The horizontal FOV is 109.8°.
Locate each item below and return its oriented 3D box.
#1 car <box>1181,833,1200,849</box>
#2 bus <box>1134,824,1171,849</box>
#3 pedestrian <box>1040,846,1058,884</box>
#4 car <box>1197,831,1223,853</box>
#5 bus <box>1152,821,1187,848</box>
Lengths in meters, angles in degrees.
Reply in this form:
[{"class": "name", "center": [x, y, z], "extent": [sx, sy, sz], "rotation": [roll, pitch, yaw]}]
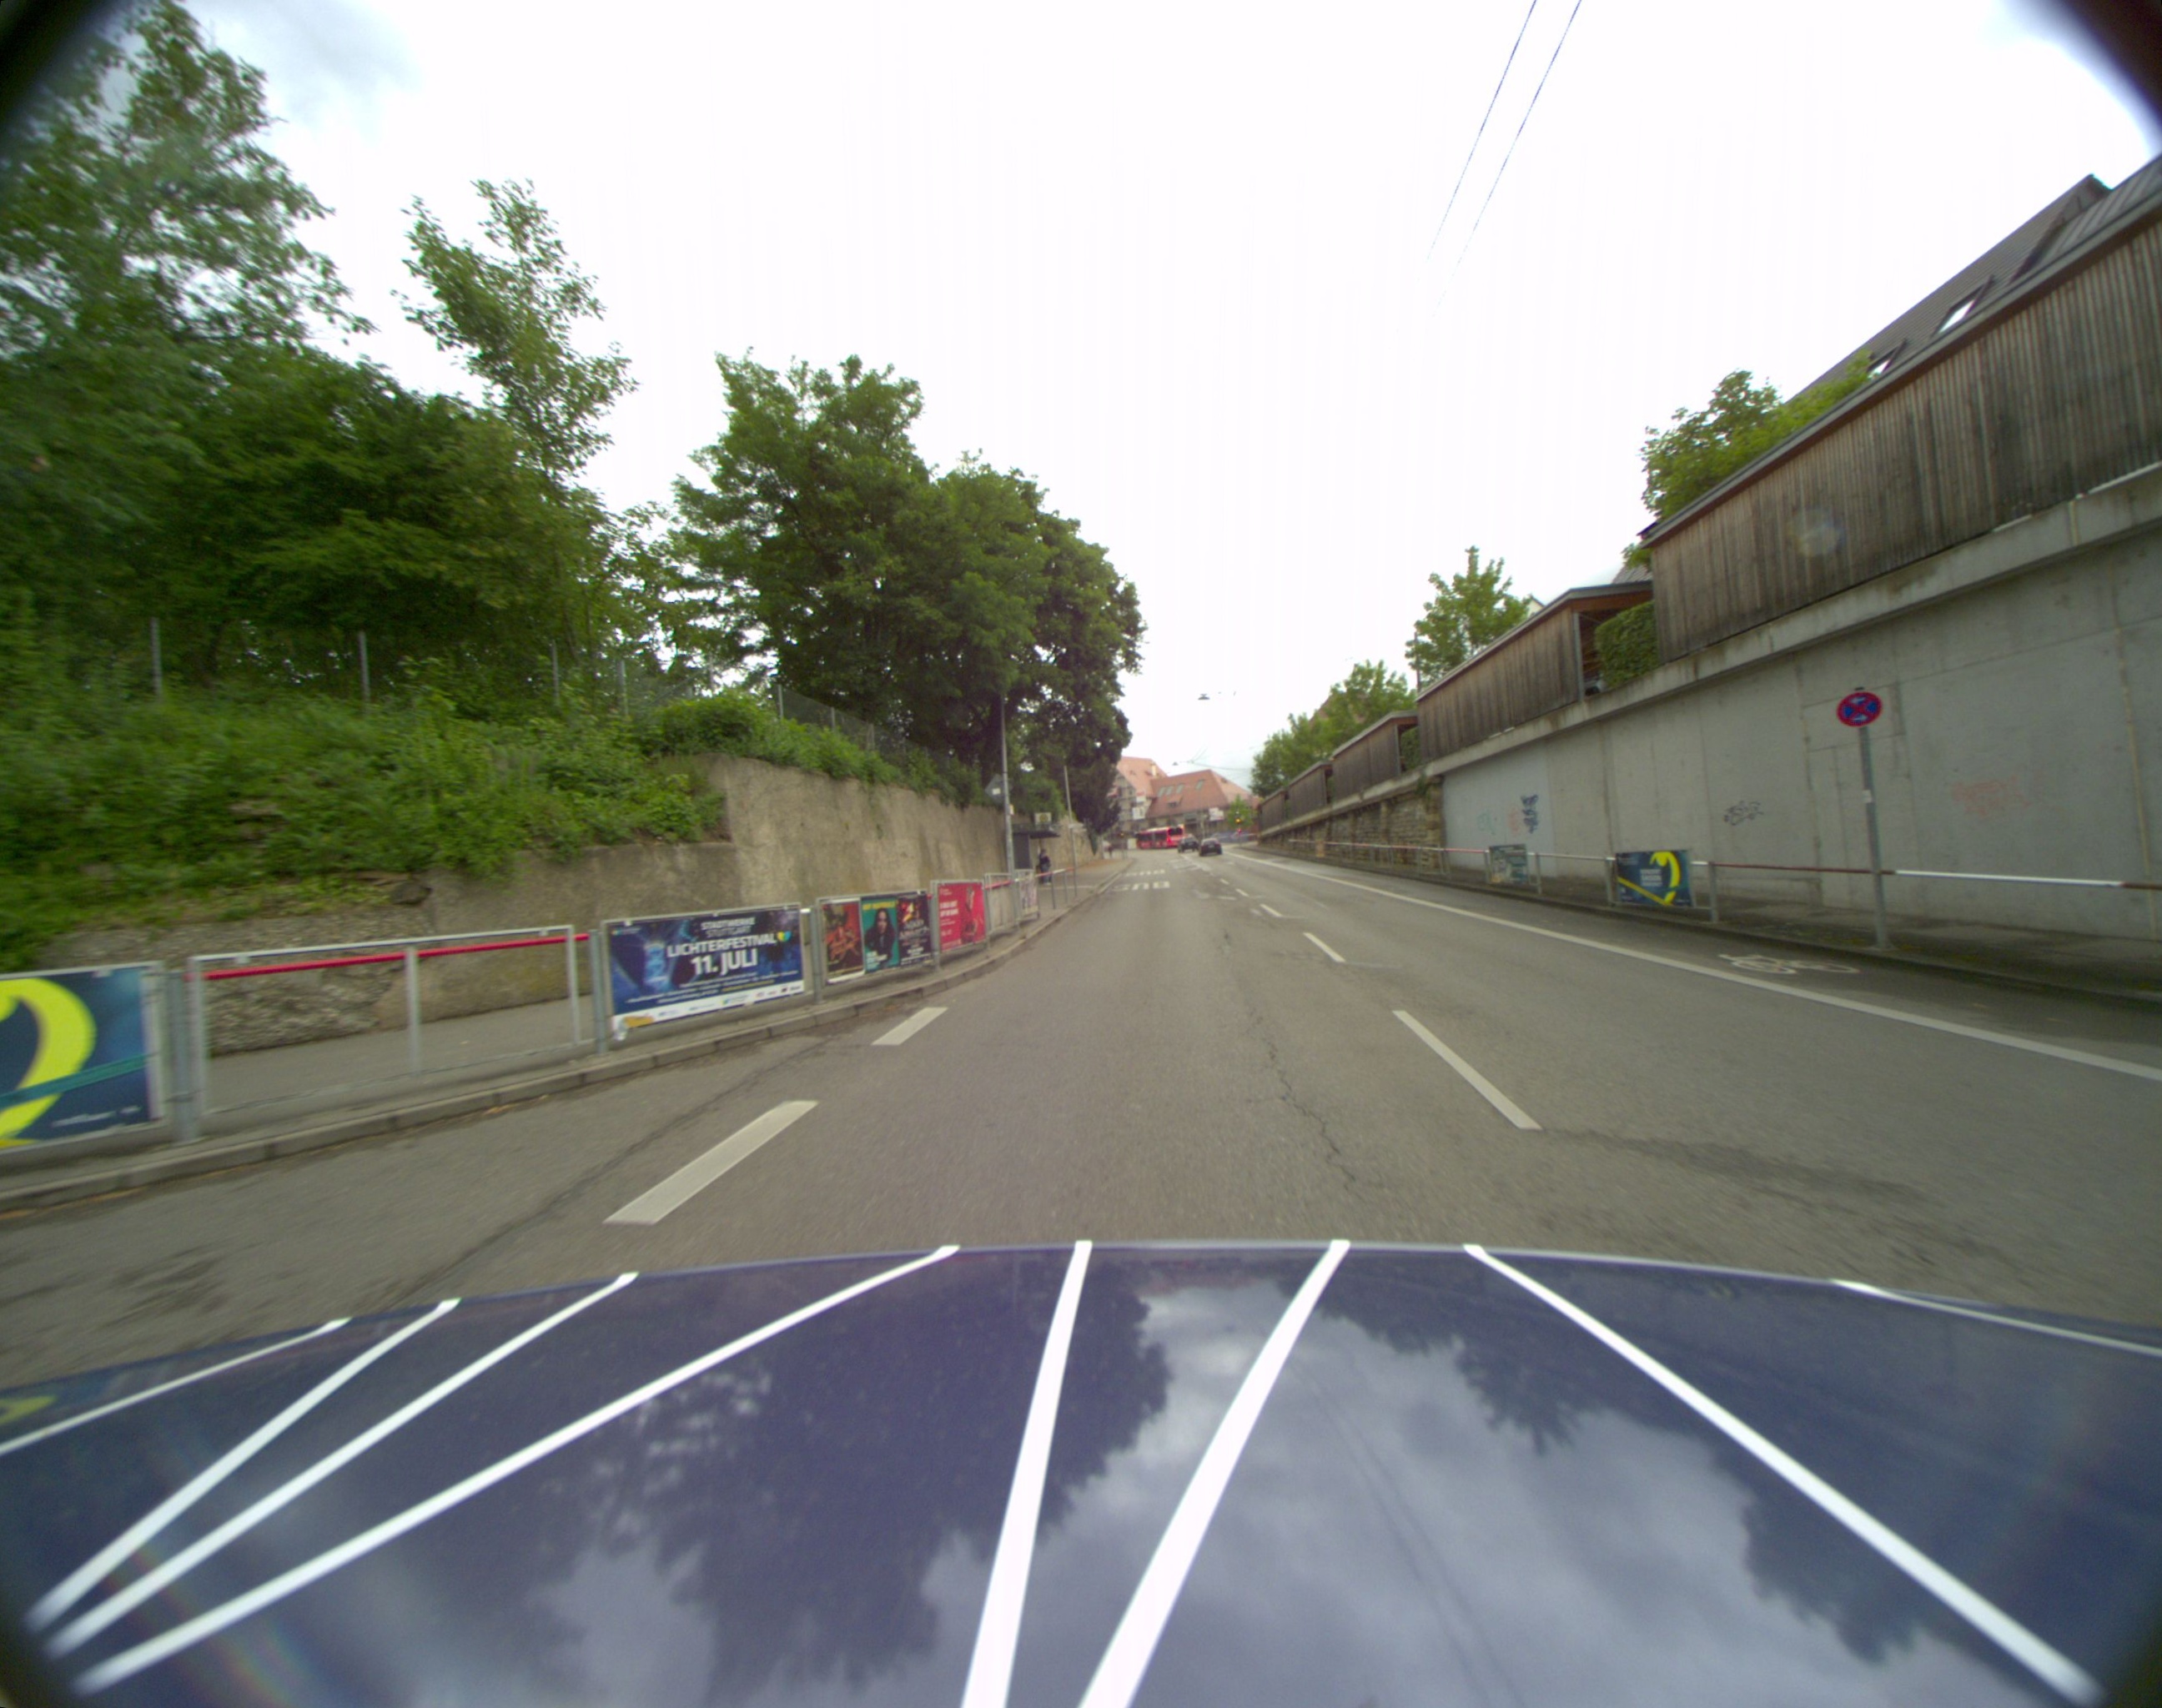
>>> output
[{"class": "car", "center": [12.128, -1.417, 84.552], "extent": [1.854, 1.706, 3.882], "rotation": [-2, 1, 5]}, {"class": "bus", "center": [11.403, -2.741, 122.164], "extent": [2.913, 3.616, 9.472], "rotation": [-2, 1, -13]}, {"class": "pedestrian", "center": [-1.447, 0.482, 34.240], "extent": [0.718, 1.631, 0.740], "rotation": [-2, 1, -3]}, {"class": "car", "center": [10.925, -0.998, 64.663], "extent": [1.854, 1.706, 3.882], "rotation": [-2, 1, 5]}, {"class": "bus", "center": [13.022, -2.827, 112.702], "extent": [2.912, 3.616, 9.477], "rotation": [-2, 1, -7]}]
